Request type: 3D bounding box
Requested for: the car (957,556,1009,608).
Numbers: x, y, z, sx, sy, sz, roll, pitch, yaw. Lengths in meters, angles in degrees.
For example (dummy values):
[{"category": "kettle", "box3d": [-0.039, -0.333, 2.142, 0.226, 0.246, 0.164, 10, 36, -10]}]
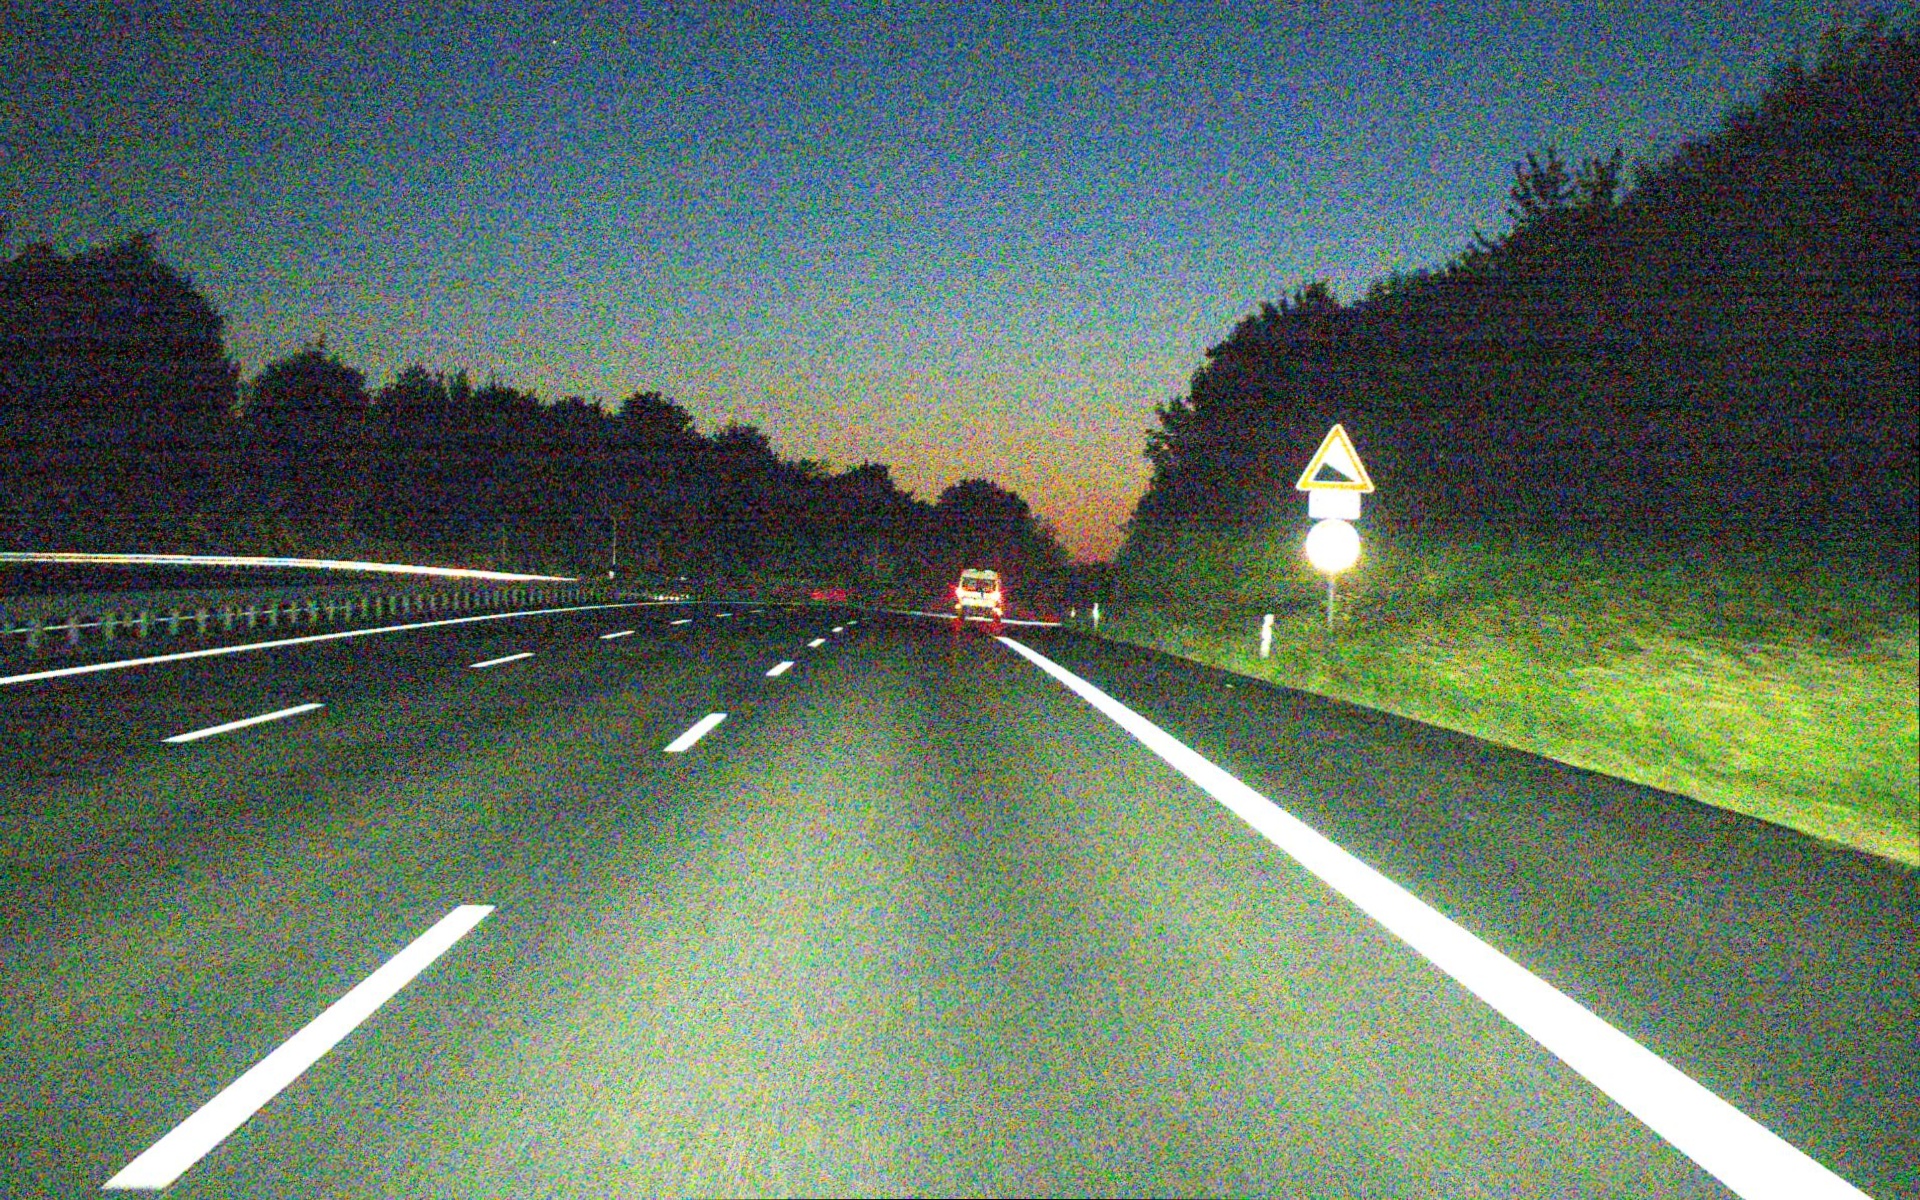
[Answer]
[{"category": "car", "box3d": [1.188, -0.924, 173.600, 2.528, 2.544, 6.051, 1, 1, 1]}]
